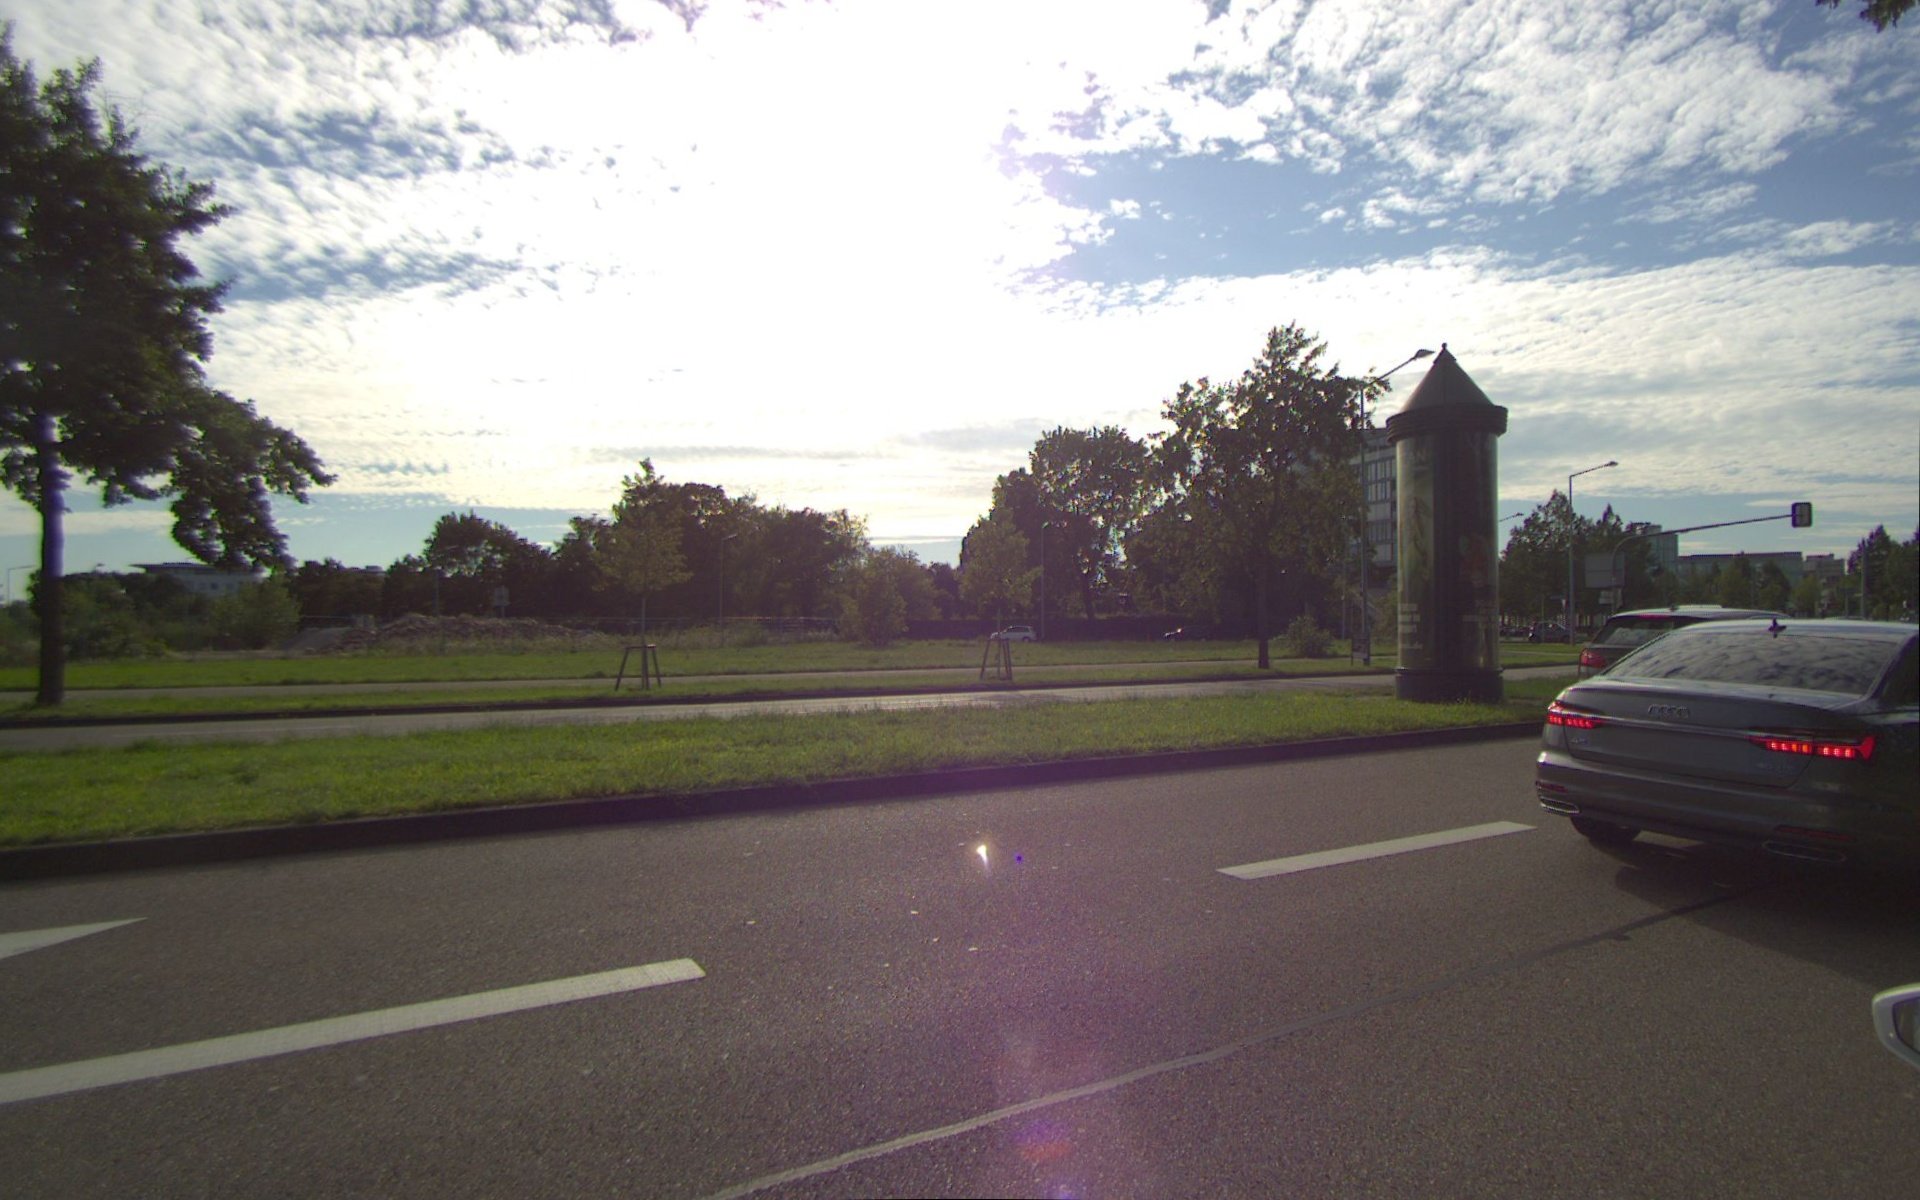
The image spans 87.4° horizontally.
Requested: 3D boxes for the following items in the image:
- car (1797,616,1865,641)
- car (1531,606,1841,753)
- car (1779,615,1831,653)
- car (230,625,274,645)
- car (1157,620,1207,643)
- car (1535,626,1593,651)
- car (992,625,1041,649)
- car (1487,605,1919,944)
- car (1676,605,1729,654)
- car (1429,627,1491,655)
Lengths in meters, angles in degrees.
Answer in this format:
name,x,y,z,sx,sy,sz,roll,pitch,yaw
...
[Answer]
name,x,y,z,sx,sy,sz,roll,pitch,yaw
car,73.489,2.401,84.774,4.154,2.040,1.827,0,-2,-3
car,9.144,0.878,12.594,3.972,1.579,1.721,1,0,-31
car,38.471,1.559,45.781,1.685,1.594,3.982,-3,-4,39
car,-75.183,3.708,106.650,3.922,2.040,2.000,-1,-2,21
car,18.250,2.587,82.620,3.919,1.750,1.850,-2,-3,13
car,40.216,2.593,66.991,3.139,1.594,1.573,-2,-4,26
car,4.865,3.157,85.609,3.919,1.825,2.002,3,-1,10
car,5.623,0.810,6.467,4.560,1.502,1.880,1,0,-31
car,36.963,1.479,50.069,1.968,2.264,5.904,-3,-3,36
car,38.990,3.182,78.482,3.919,2.040,2.001,2,0,13
